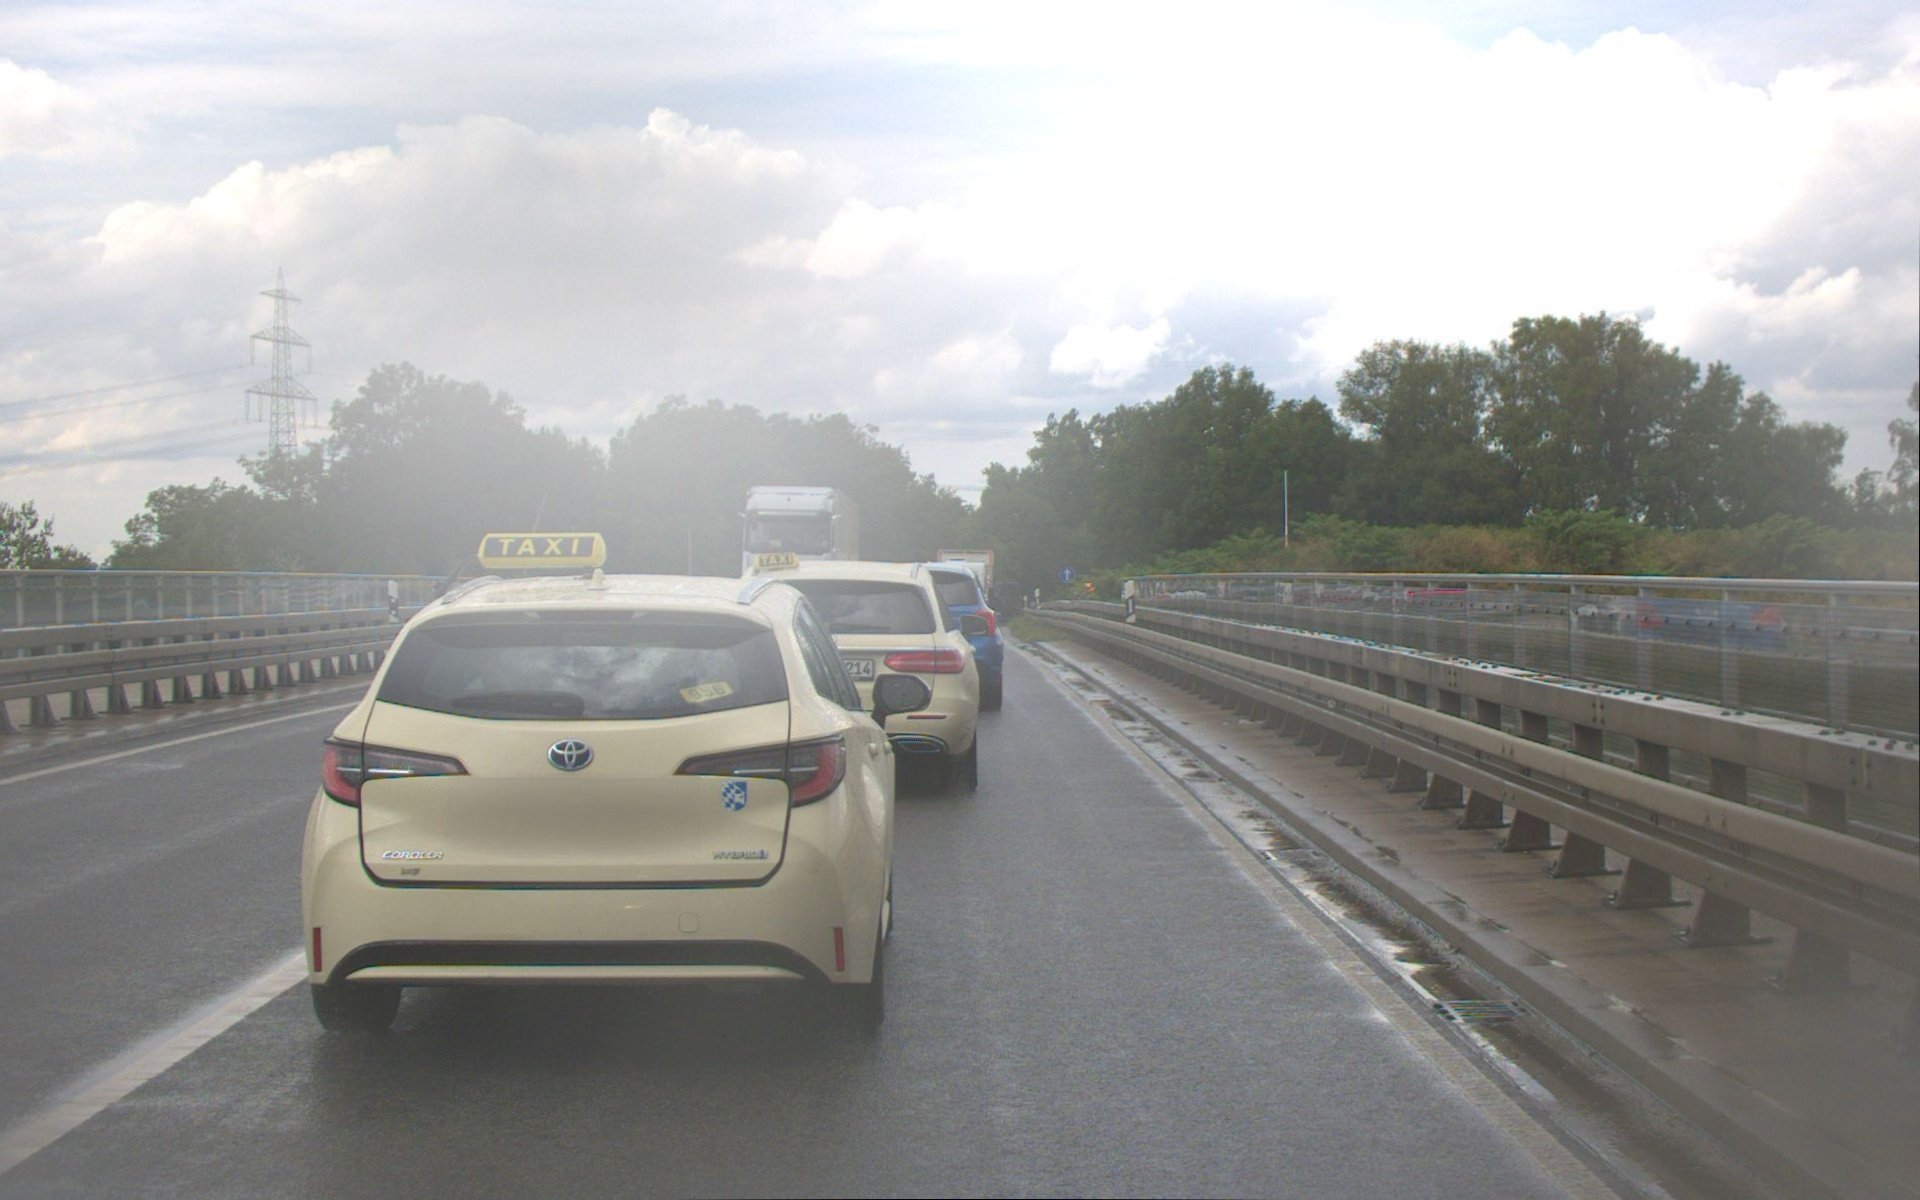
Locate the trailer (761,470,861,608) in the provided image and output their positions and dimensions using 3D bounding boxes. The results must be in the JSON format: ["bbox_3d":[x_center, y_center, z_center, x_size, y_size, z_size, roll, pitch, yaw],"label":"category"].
[{"bbox_3d":[-4.532,-1.874,105.975,2.682,4.061,8.485,1,1,0],"label":"trailer"}]

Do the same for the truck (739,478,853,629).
[{"bbox_3d":[-4.534,-1.312,96.696,2.682,4.003,10.055,1,1,0],"label":"truck"}]

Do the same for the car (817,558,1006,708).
[{"bbox_3d":[-0.493,0.302,36.161,1.854,1.438,4.171,1,1,0],"label":"car"}]

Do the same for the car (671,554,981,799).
[{"bbox_3d":[-0.823,0.435,22.891,1.854,1.438,4.171,1,1,0],"label":"car"}]

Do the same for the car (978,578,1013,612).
[{"bbox_3d":[2.155,-0.330,210.018,1.993,2.007,4.000,1,0,-1],"label":"car"}]

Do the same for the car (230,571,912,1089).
[{"bbox_3d":[-1.122,0.630,11.735,1.854,1.389,4.171,1,1,0],"label":"car"}]

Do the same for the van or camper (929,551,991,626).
[{"bbox_3d":[-0.004,-0.479,136.365,2.332,2.854,6.306,1,0,0],"label":"van or camper"}]

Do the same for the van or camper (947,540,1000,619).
[{"bbox_3d":[0.606,-0.964,159.041,2.332,3.550,6.306,1,0,0],"label":"van or camper"}]
